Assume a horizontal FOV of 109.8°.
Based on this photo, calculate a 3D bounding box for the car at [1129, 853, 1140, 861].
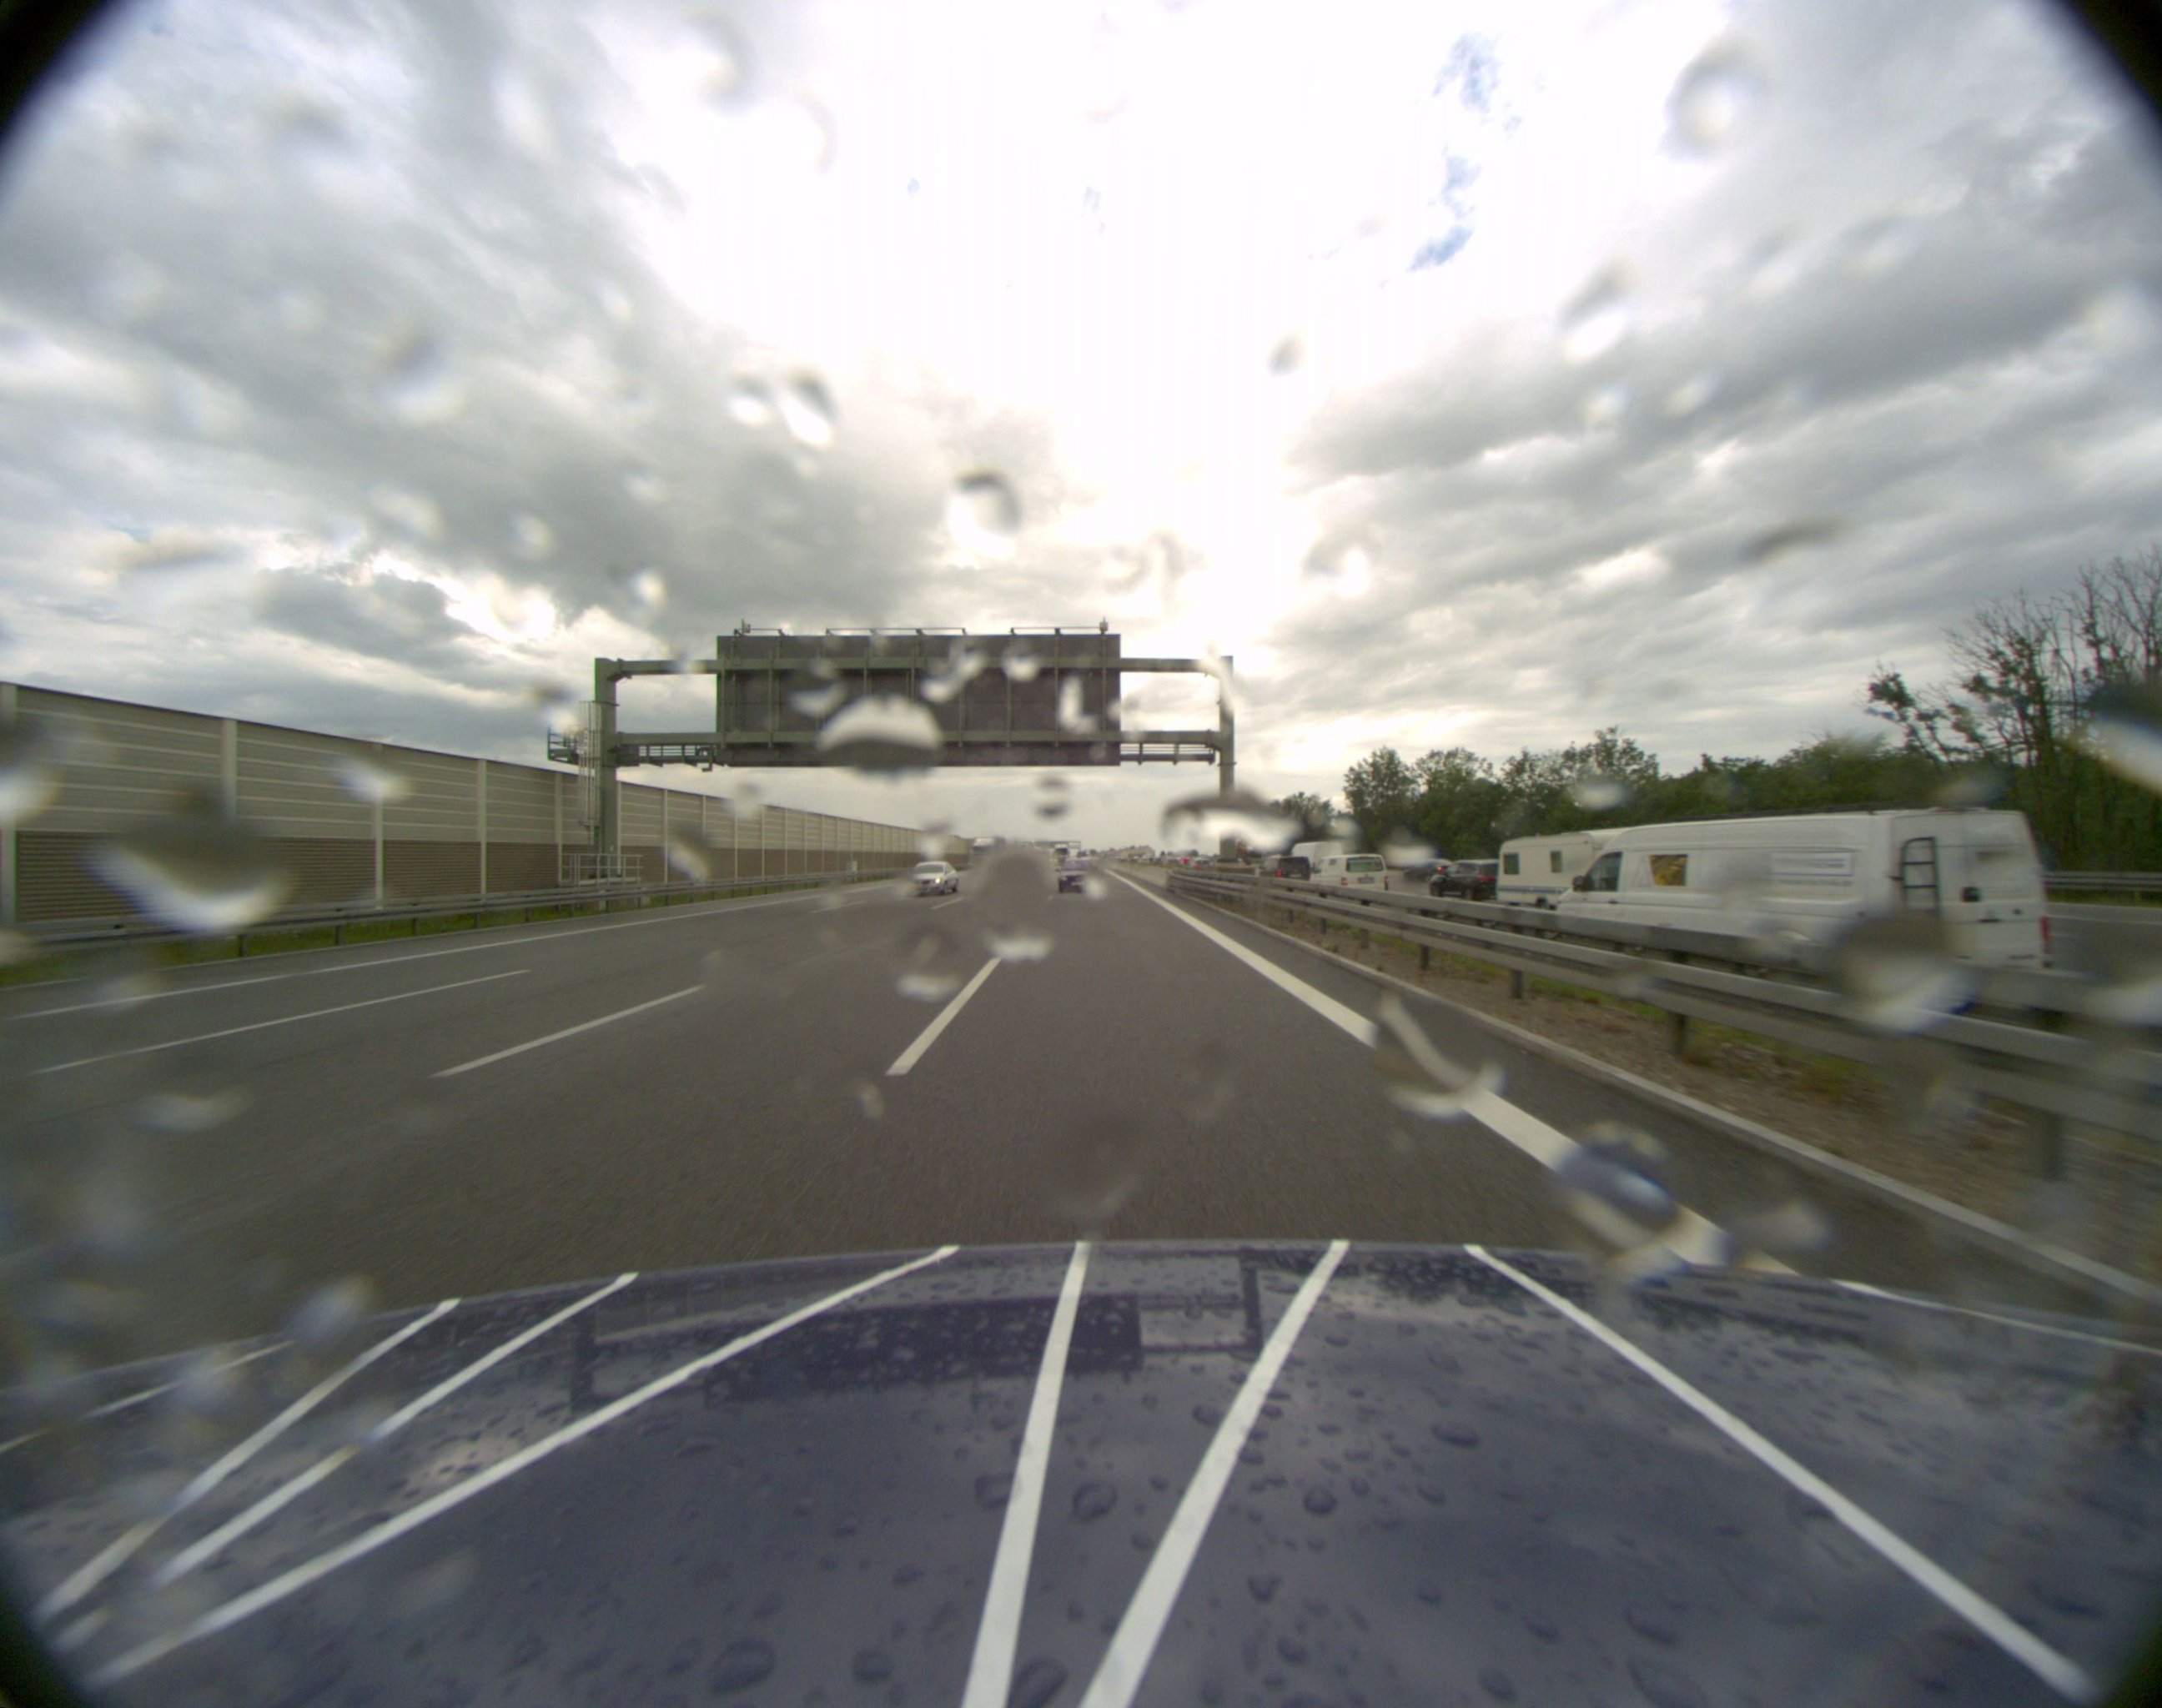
[{"bbox_3d":[10.535,0.542,150.155,1.727,1.420,5.229,-3,1,0],"label":"car"}]

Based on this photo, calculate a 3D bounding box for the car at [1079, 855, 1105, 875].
[{"bbox_3d":[0.794,0.812,57.219,1.776,1.451,4.480,-2,0,-1],"label":"car"}]

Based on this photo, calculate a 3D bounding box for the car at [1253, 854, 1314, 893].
[{"bbox_3d":[10.822,0.977,40.999,1.823,1.893,5.423,-1,1,0],"label":"car"}]

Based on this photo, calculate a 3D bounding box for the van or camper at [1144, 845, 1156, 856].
[{"bbox_3d":[20.595,-1.050,227.150,2.632,3.104,8.475,-3,1,-1],"label":"van or camper"}]

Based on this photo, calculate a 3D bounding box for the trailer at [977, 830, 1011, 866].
[{"bbox_3d":[-10.696,-0.636,95.195,2.768,4.008,14.451,-2,0,-1],"label":"trailer"}]

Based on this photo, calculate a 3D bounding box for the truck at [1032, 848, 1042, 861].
[{"bbox_3d":[-14.248,0.250,246.798,2.600,4.087,11.366,-2,0,-6],"label":"truck"}]

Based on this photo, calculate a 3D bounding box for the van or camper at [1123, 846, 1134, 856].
[{"bbox_3d":[14.097,-0.888,226.260,2.632,2.934,7.357,-3,1,-1],"label":"van or camper"}]

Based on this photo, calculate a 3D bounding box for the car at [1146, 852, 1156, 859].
[{"bbox_3d":[14.859,0.232,161.470,1.727,1.410,4.201,0,1,0],"label":"car"}]

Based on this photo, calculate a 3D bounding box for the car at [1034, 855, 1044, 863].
[{"bbox_3d":[-7.555,0.922,137.133,1.698,1.394,3.999,-2,0,-2],"label":"car"}]

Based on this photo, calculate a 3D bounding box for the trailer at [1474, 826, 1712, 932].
[{"bbox_3d":[14.675,0.607,22.617,2.347,2.638,7.183,-1,1,1],"label":"trailer"}]

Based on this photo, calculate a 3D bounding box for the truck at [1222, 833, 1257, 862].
[{"bbox_3d":[22.789,-0.900,109.636,2.923,3.991,9.582,-2,0,0],"label":"truck"}]

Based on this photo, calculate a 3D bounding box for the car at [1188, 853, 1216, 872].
[{"bbox_3d":[11.115,0.780,70.035,1.727,1.593,4.912,-3,1,-1],"label":"car"}]

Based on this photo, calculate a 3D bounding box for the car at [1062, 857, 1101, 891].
[{"bbox_3d":[0.073,0.859,33.669,1.578,1.394,4.001,-1,0,2],"label":"car"}]

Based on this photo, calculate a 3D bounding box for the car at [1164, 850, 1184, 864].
[{"bbox_3d":[11.185,0.352,91.200,1.727,1.593,4.913,-3,1,0],"label":"car"}]

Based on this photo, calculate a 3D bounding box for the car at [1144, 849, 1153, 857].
[{"bbox_3d":[17.694,-0.236,199.111,1.692,1.925,5.546,-3,1,-3],"label":"car"}]

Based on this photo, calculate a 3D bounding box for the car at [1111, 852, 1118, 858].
[{"bbox_3d":[9.315,0.289,212.177,1.727,1.636,5.061,-3,1,0],"label":"car"}]

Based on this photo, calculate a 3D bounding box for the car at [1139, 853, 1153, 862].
[{"bbox_3d":[10.549,0.561,123.984,1.727,1.420,4.648,-3,1,-1],"label":"car"}]

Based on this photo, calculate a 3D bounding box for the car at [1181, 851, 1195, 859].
[{"bbox_3d":[19.562,0.172,139.027,1.727,1.420,4.518,-3,1,0],"label":"car"}]

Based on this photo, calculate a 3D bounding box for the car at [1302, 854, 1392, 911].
[{"bbox_3d":[10.782,1.088,31.289,1.823,2.066,5.374,-1,1,0],"label":"car"}]

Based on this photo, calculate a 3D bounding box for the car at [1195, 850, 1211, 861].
[{"bbox_3d":[18.822,0.271,117.233,1.727,1.593,4.518,-3,1,0],"label":"car"}]

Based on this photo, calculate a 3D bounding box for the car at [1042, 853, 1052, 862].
[{"bbox_3d":[-8.148,0.745,181.115,1.998,2.002,4.000,-2,0,0],"label":"car"}]

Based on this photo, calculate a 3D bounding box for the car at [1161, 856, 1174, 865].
[{"bbox_3d":[15.092,1.110,133.140,1.727,1.420,4.518,-3,1,0],"label":"car"}]

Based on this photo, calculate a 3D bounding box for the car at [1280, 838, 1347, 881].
[{"bbox_3d":[15.163,0.303,50.122,2.054,2.637,7.735,-1,1,0],"label":"car"}]

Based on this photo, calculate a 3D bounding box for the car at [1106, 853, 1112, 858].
[{"bbox_3d":[8.705,0.481,235.919,1.727,1.636,4.518,-3,1,0],"label":"car"}]

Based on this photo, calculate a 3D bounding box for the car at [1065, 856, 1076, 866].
[{"bbox_3d":[-1.588,1.015,114.516,1.498,1.394,3.999,-2,0,-3],"label":"car"}]

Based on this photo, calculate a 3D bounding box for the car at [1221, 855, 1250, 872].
[{"bbox_3d":[15.157,0.926,74.598,1.727,1.486,4.912,-3,1,-1],"label":"car"}]

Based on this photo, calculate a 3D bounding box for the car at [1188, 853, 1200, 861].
[{"bbox_3d":[22.781,0.540,153.211,1.727,1.420,4.518,-3,1,0],"label":"car"}]

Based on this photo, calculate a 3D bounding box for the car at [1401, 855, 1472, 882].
[{"bbox_3d":[21.502,0.818,46.184,1.987,1.486,4.913,-1,1,0],"label":"car"}]

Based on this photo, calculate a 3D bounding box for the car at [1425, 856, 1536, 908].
[{"bbox_3d":[14.824,0.983,28.518,1.822,1.668,4.478,-2,1,1],"label":"car"}]

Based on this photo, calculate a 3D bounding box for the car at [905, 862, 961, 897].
[{"bbox_3d":[-6.585,1.107,34.200,1.732,1.394,4.000,-2,0,0],"label":"car"}]

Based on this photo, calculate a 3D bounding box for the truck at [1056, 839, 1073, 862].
[{"bbox_3d":[-3.100,-0.649,141.560,2.913,4.145,5.192,-3,0,-1],"label":"truck"}]

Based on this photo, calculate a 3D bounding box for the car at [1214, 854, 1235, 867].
[{"bbox_3d":[18.717,0.809,99.459,1.727,1.593,4.913,-3,1,0],"label":"car"}]

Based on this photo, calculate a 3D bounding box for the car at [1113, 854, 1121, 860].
[{"bbox_3d":[9.328,0.797,198.172,1.727,1.636,5.061,-3,1,0],"label":"car"}]

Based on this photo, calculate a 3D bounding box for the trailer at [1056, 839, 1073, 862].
[{"bbox_3d":[-3.349,-0.601,148.423,2.926,4.187,13.194,-2,0,-2],"label":"trailer"}]

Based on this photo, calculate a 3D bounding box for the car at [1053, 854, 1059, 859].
[{"bbox_3d":[-7.454,0.687,225.806,1.698,1.394,3.999,-2,0,-2],"label":"car"}]

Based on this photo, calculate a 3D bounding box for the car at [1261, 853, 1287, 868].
[{"bbox_3d":[22.754,0.783,89.810,1.727,1.593,4.913,-3,1,0],"label":"car"}]

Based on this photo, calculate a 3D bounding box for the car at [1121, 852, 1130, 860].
[{"bbox_3d":[9.993,0.516,170.436,1.727,1.636,4.992,-3,1,0],"label":"car"}]

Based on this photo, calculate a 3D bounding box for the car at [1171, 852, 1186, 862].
[{"bbox_3d":[15.135,0.456,118.257,1.727,1.461,4.848,-3,1,0],"label":"car"}]

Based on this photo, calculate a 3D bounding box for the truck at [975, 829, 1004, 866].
[{"bbox_3d":[-10.562,-0.699,88.145,2.752,4.011,5.725,-2,0,-1],"label":"truck"}]

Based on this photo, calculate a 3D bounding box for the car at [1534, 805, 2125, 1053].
[{"bbox_3d":[10.278,0.781,11.875,2.029,2.663,7.310,-1,1,0],"label":"car"}]

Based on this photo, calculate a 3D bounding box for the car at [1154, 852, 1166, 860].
[{"bbox_3d":[15.391,0.385,147.952,1.727,1.420,4.518,-3,1,0],"label":"car"}]

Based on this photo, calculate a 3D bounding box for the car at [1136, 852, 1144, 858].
[{"bbox_3d":[14.869,0.251,191.380,1.727,1.407,4.518,-3,1,0],"label":"car"}]
